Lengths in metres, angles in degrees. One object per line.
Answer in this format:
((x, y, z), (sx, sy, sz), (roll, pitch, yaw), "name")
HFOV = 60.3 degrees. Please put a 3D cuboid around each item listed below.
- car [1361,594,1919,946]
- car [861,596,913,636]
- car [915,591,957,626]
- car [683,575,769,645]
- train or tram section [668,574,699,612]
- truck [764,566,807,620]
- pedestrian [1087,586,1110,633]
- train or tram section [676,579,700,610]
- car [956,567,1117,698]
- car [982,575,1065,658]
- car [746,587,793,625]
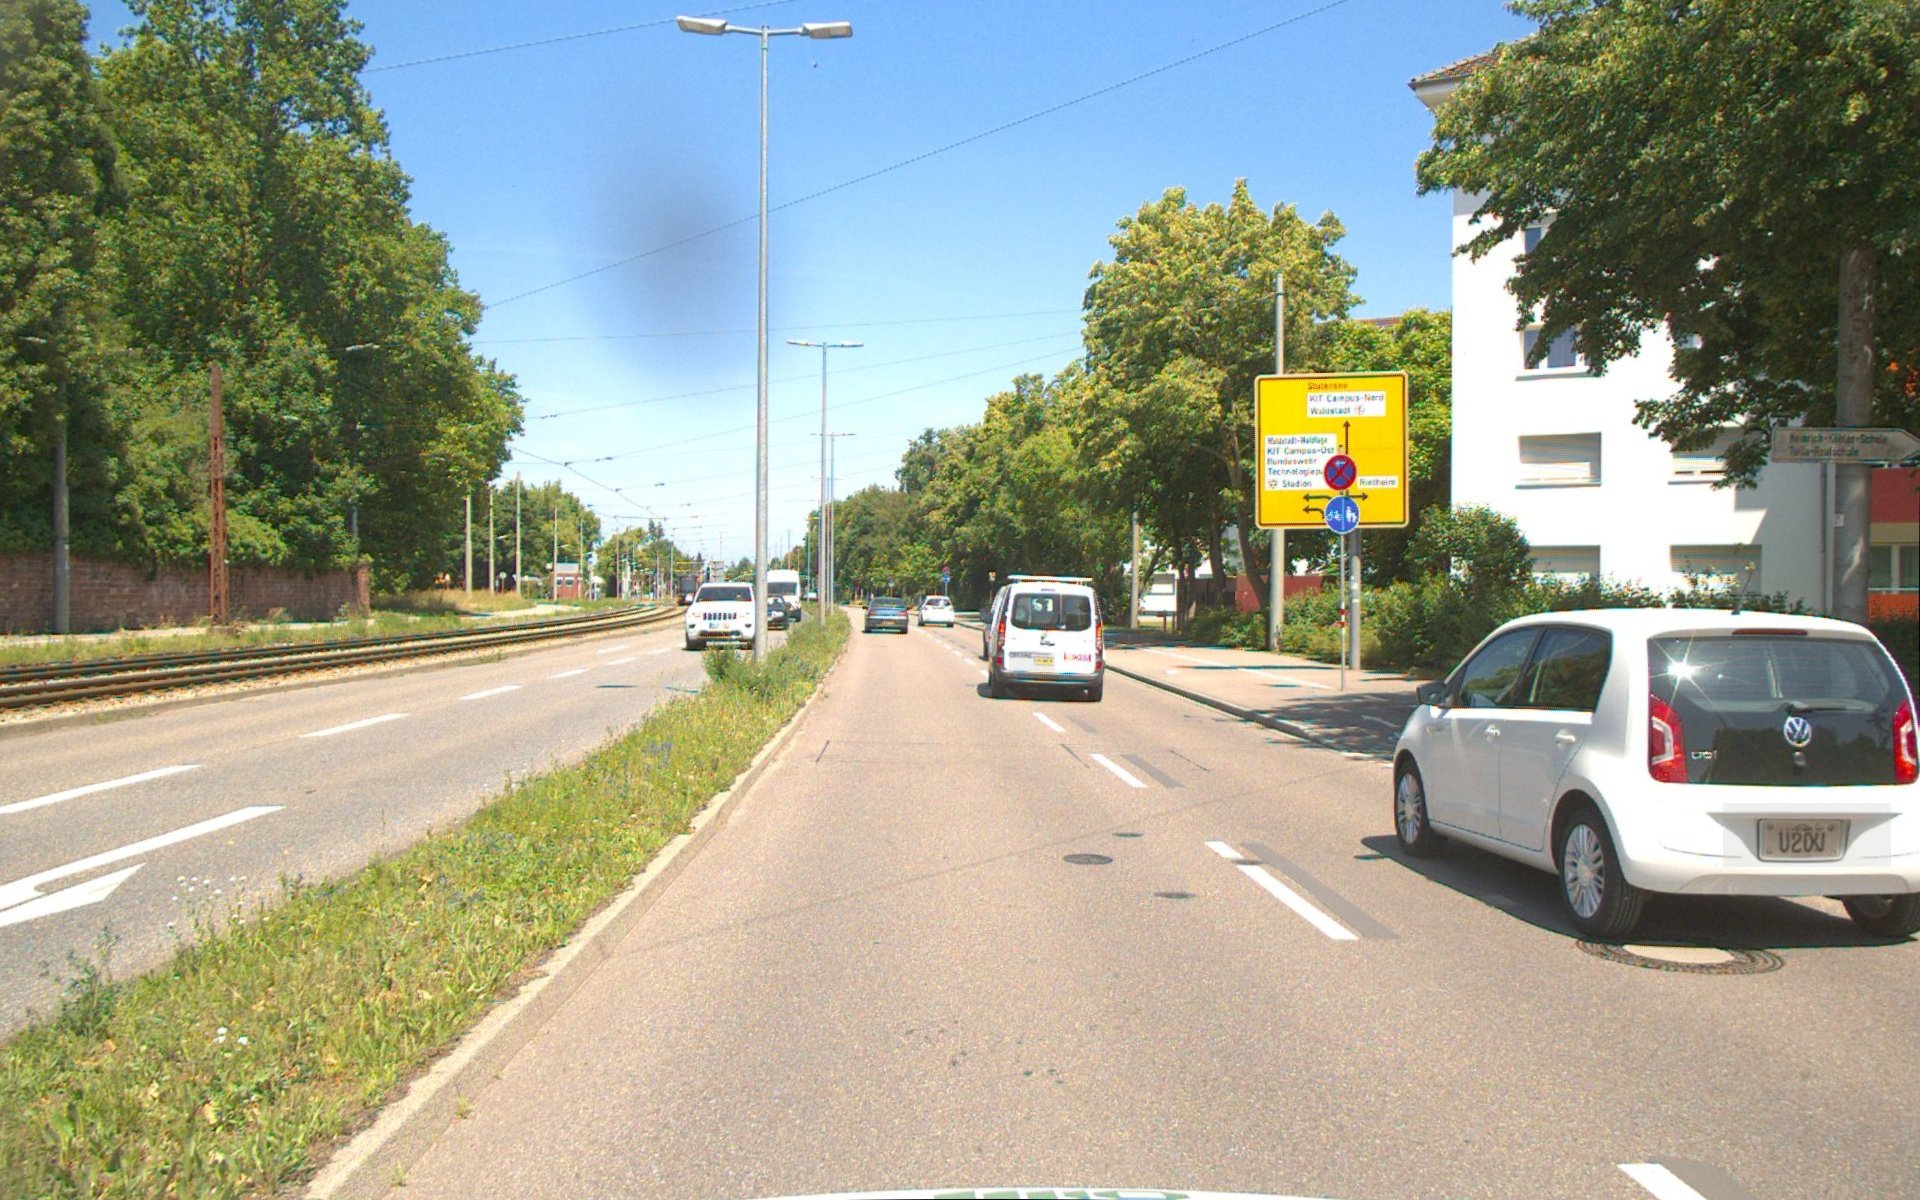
((3.582, 0.737, 8.971), (1.626, 1.475, 3.851), (1, 0, -4), "car")
((-2.927, 0.618, 65.933), (1.767, 1.512, 3.994), (1, 0, -7), "car")
((-1.239, 0.413, 84.098), (1.768, 1.566, 3.996), (6, -1, -4), "car")
((-6.290, 0.251, 44.926), (1.862, 1.779, 4.585), (-1, 0, -3), "car")
((-30.402, -0.646, 182.746), (2.736, 3.732, 37.441), (1, 0, -9), "train or tram section")
((-9.302, -0.395, 88.653), (2.040, 2.796, 5.543), (-1, 0, -4), "truck")
((5.003, 0.328, 59.804), (0.655, 1.672, 0.856), (1, -1, -5), "pedestrian")
((-35.130, -0.678, 214.048), (2.736, 3.732, 25.945), (1, 0, -9), "train or tram section")
((1.149, 0.489, 26.969), (1.790, 1.914, 4.448), (2, 0, -8), "car")
((1.508, 0.378, 40.546), (1.693, 1.845, 3.999), (2, 0, -2), "car")
((-7.752, 0.216, 67.504), (1.682, 1.484, 3.911), (0, 0, -4), "car")
